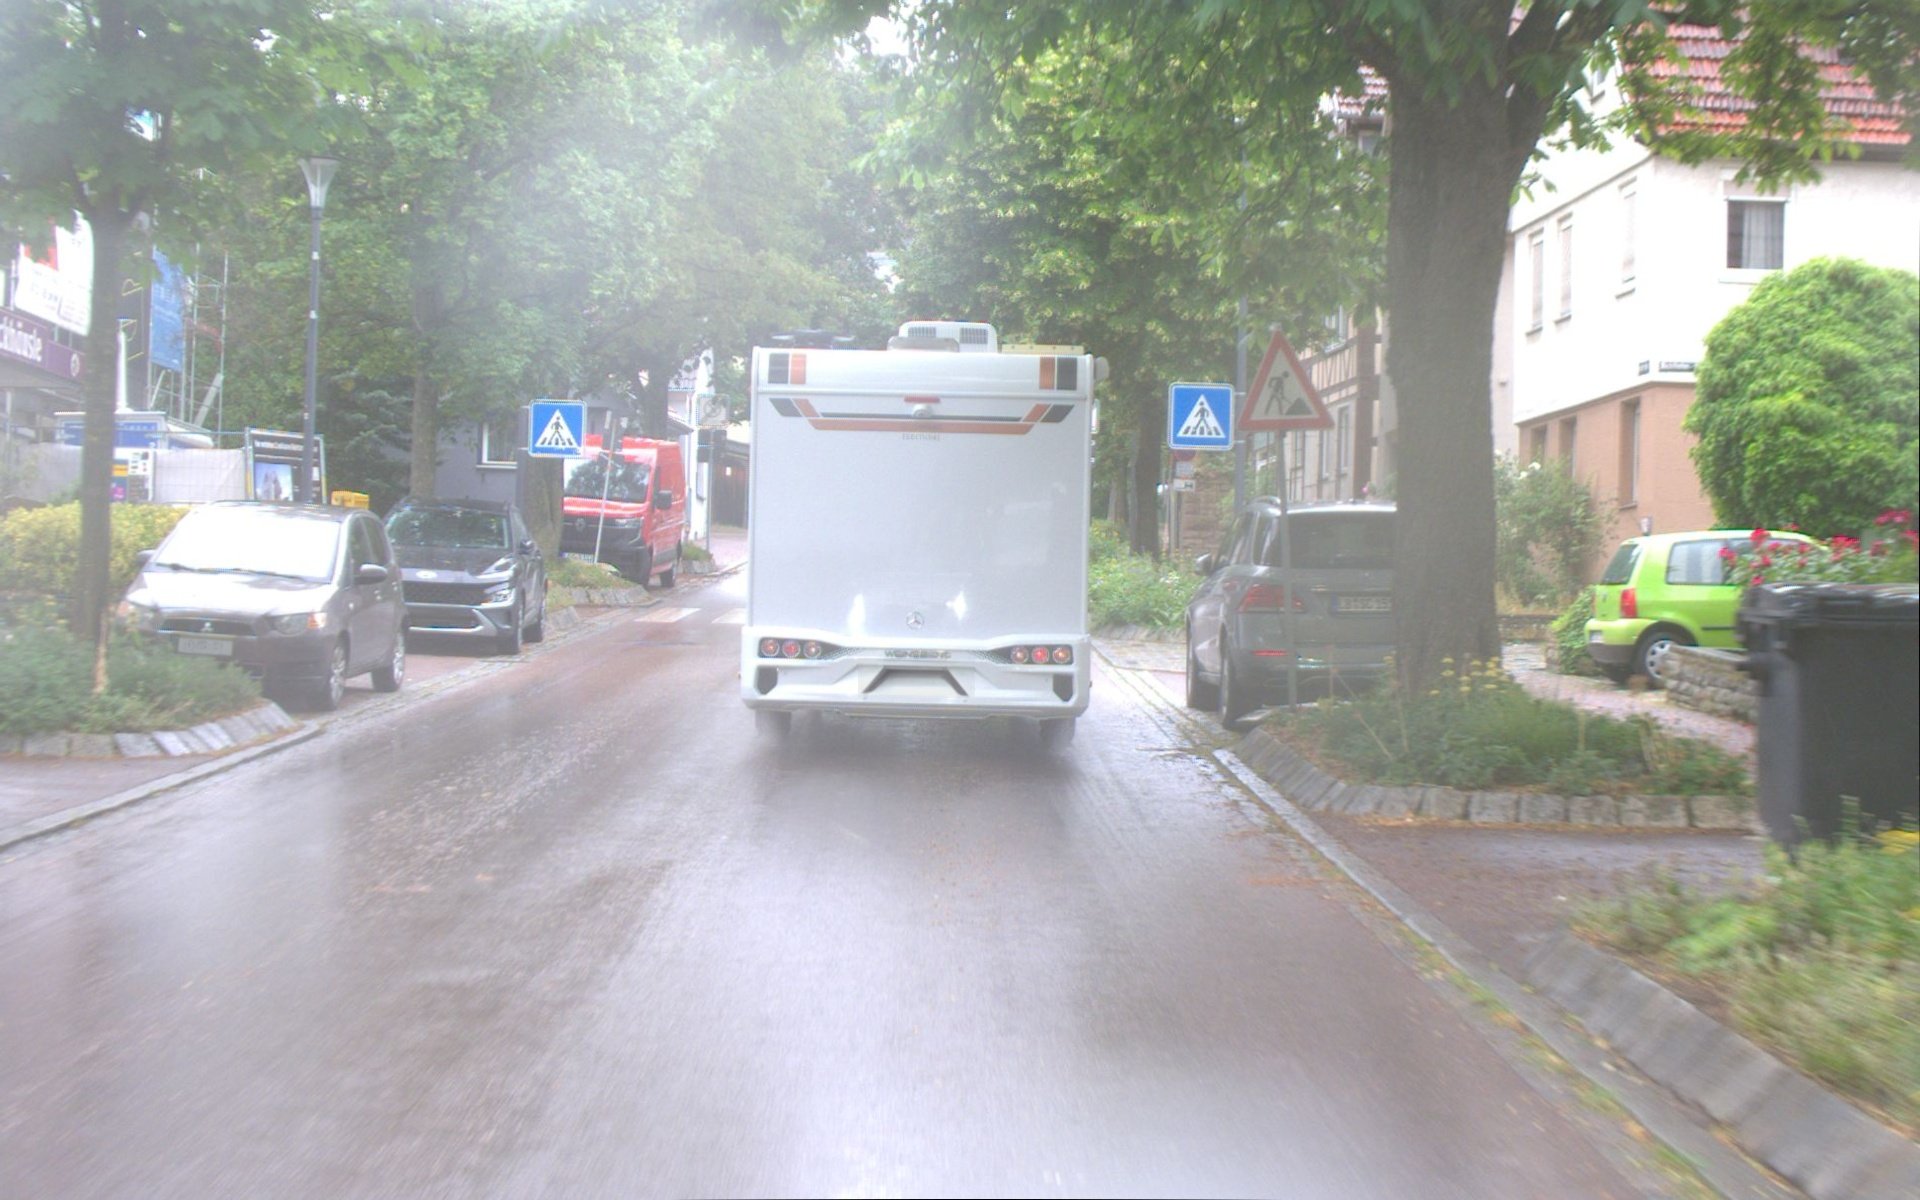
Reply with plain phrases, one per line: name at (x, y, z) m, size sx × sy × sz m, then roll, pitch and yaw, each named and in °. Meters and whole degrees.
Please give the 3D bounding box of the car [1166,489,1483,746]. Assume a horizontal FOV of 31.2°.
car at (2.762, 0.084, 27.046) m, size 1.914 × 1.786 × 4.489 m, roll 2°, pitch 1°, yaw 0°

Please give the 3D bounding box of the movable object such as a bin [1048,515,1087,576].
movable object such as a bin at (2.201, -1.117, 70.526) m, size 0.721 × 1.208 × 0.727 m, roll 2°, pitch 1°, yaw 0°

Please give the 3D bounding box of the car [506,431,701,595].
car at (-5.796, -1.480, 56.653) m, size 2.304 × 2.474 × 5.785 m, roll 2°, pitch 2°, yaw 2°

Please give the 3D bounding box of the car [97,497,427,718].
car at (-5.401, 0.004, 27.037) m, size 1.647 × 1.528 × 3.866 m, roll 3°, pitch 2°, yaw 2°

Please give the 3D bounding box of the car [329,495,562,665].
car at (-5.319, -0.259, 35.998) m, size 1.771 × 1.548 × 4.001 m, roll 4°, pitch 2°, yaw 0°

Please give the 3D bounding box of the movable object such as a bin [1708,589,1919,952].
movable object such as a bin at (3.622, 0.636, 13.254) m, size 1.225 × 1.311 × 1.134 m, roll 1°, pitch 1°, yaw 2°

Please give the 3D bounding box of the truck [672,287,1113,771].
truck at (-0.442, -0.507, 24.864) m, size 2.694 × 2.975 × 6.237 m, roll 2°, pitch 1°, yaw 0°

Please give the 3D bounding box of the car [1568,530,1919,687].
car at (7.617, 0.066, 32.530) m, size 3.364 × 1.425 × 1.631 m, roll 0°, pitch 1°, yaw -3°
